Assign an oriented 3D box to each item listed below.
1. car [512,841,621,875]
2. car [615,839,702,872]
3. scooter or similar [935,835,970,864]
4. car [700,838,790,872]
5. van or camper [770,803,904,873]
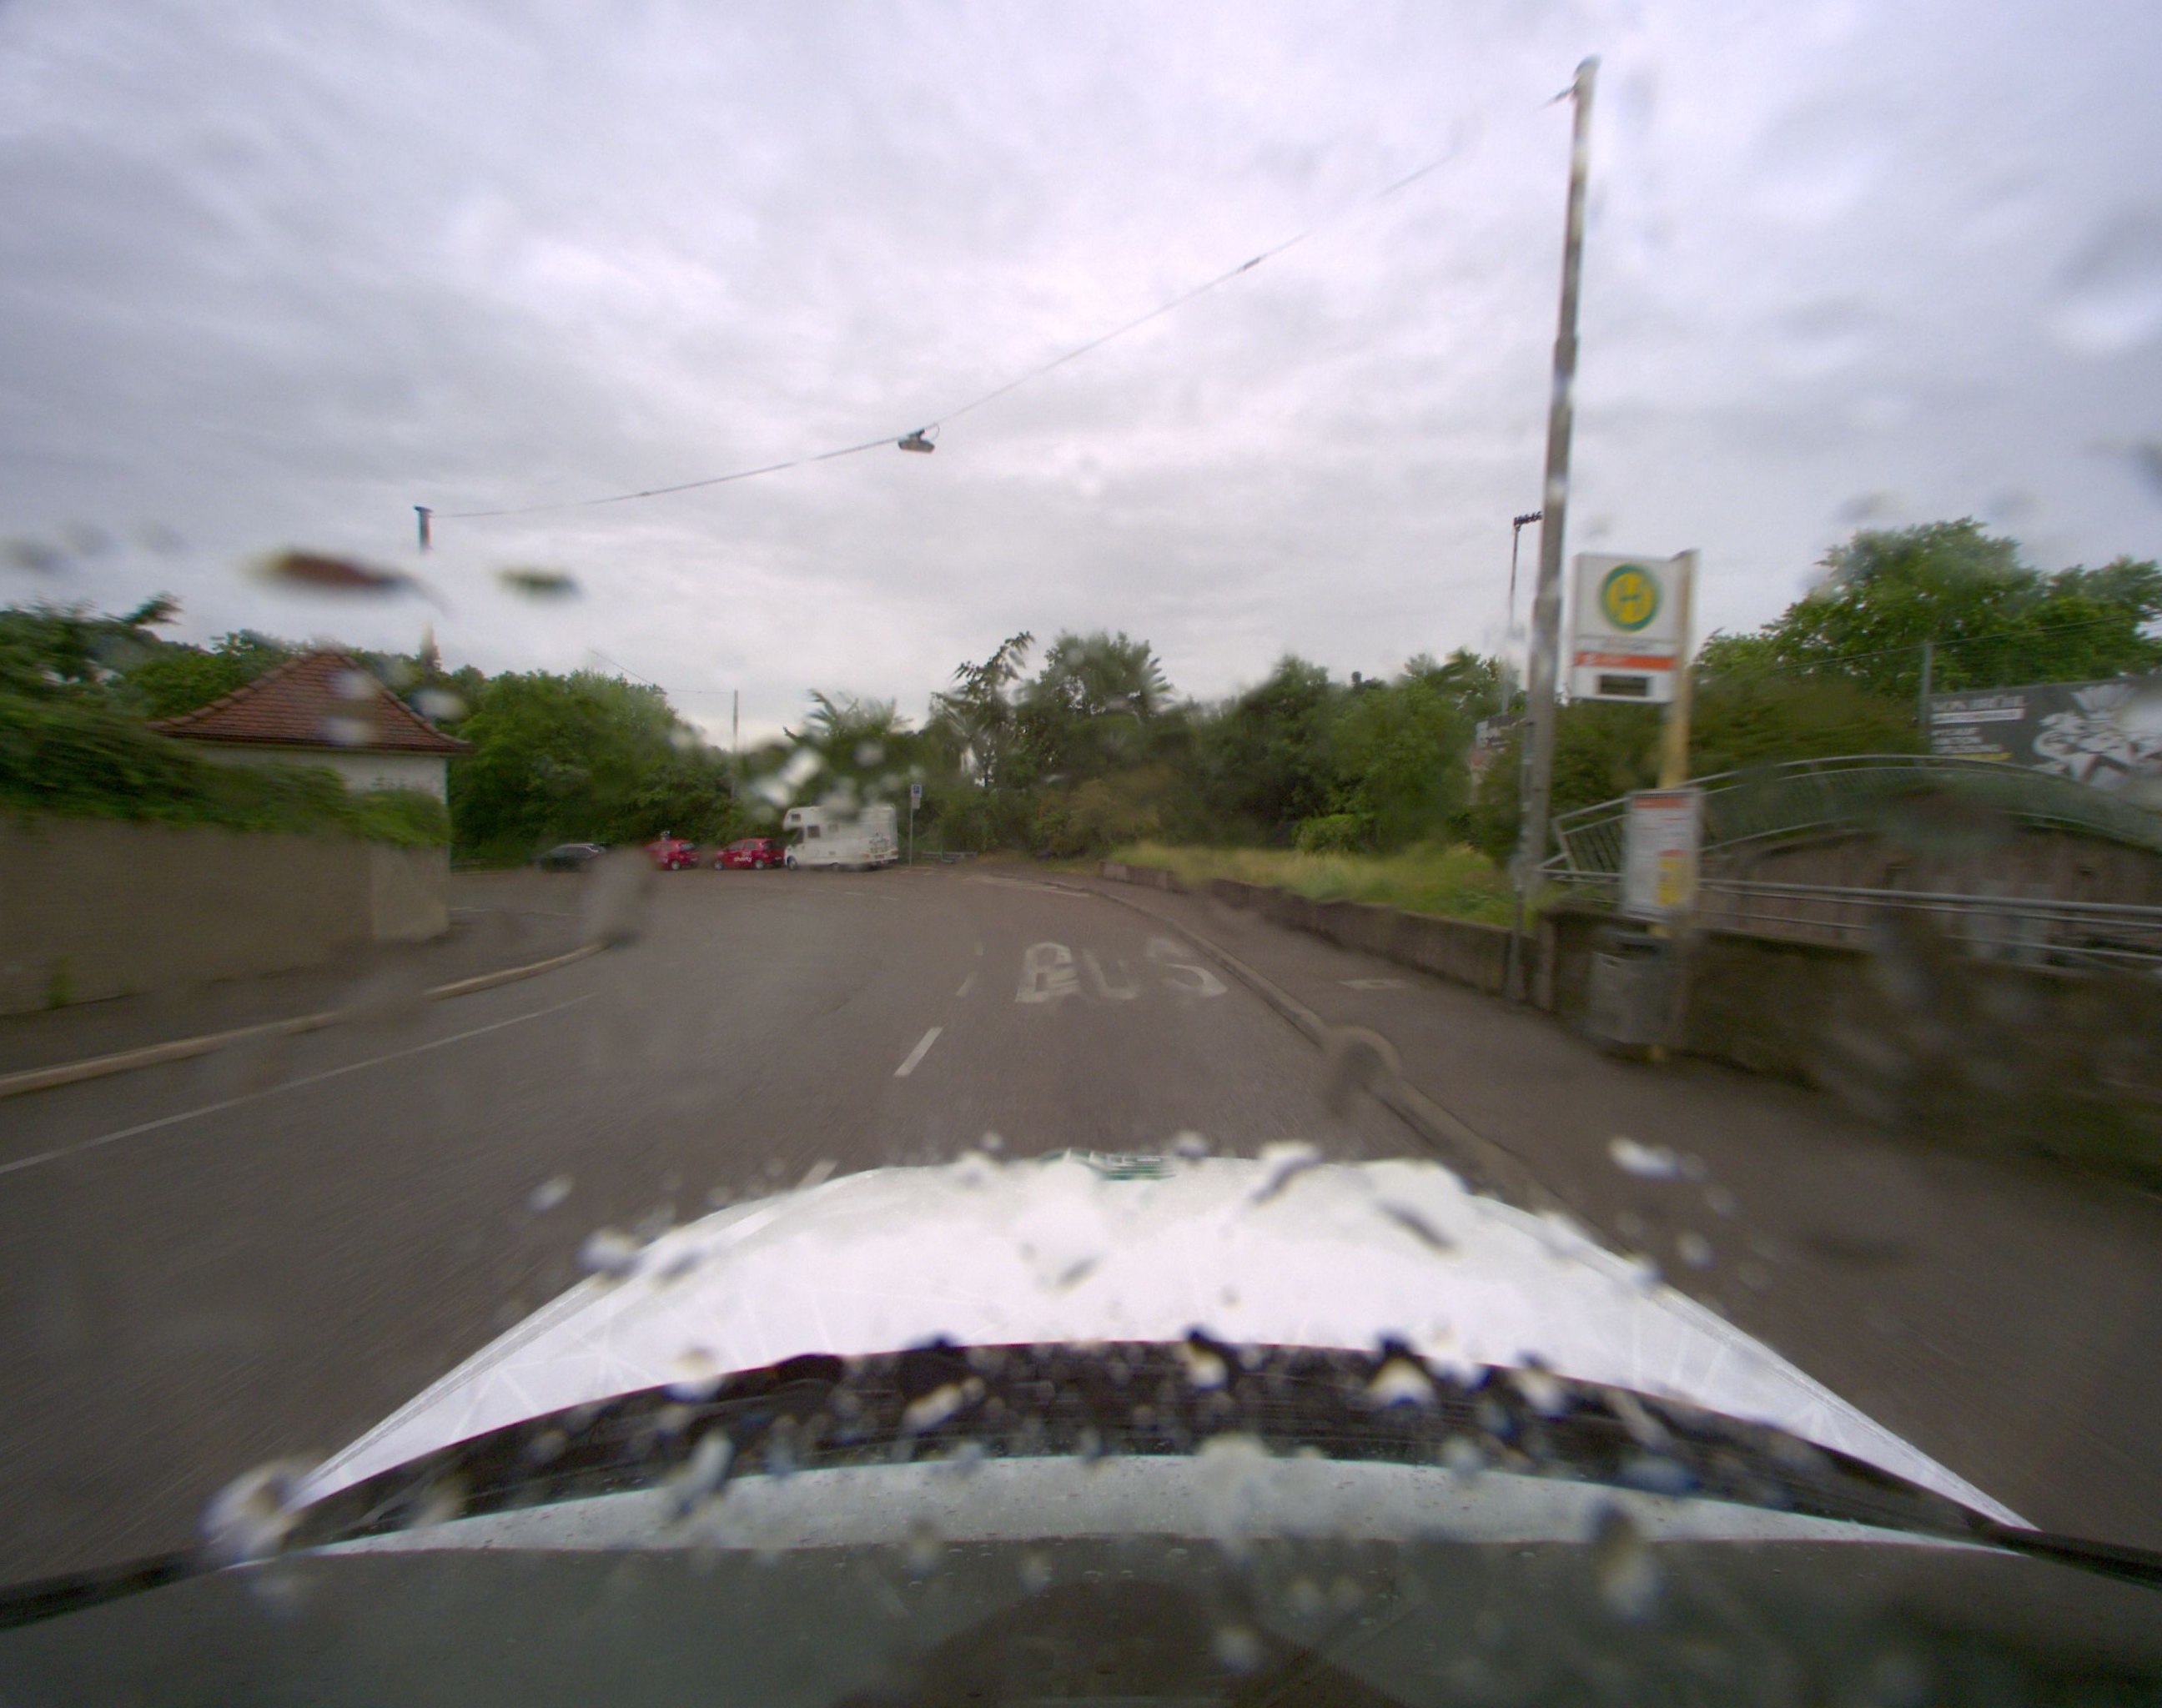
[{"bbox_3d":[-26.854,0.181,42.588,4.558,1.512,1.727,-1,5,5],"label":"car"},{"bbox_3d":[-21.673,0.070,41.824,3.642,1.512,1.568,-1,5,9],"label":"car"},{"bbox_3d":[-5.906,-0.188,37.381,1.687,1.282,0.455,0,3,34],"label":"scooter or similar"},{"bbox_3d":[-16.731,0.022,40.599,3.767,1.460,1.653,-1,6,14],"label":"car"},{"bbox_3d":[-11.440,-0.802,38.048,6.200,2.942,2.414,1,6,33],"label":"van or camper"}]
